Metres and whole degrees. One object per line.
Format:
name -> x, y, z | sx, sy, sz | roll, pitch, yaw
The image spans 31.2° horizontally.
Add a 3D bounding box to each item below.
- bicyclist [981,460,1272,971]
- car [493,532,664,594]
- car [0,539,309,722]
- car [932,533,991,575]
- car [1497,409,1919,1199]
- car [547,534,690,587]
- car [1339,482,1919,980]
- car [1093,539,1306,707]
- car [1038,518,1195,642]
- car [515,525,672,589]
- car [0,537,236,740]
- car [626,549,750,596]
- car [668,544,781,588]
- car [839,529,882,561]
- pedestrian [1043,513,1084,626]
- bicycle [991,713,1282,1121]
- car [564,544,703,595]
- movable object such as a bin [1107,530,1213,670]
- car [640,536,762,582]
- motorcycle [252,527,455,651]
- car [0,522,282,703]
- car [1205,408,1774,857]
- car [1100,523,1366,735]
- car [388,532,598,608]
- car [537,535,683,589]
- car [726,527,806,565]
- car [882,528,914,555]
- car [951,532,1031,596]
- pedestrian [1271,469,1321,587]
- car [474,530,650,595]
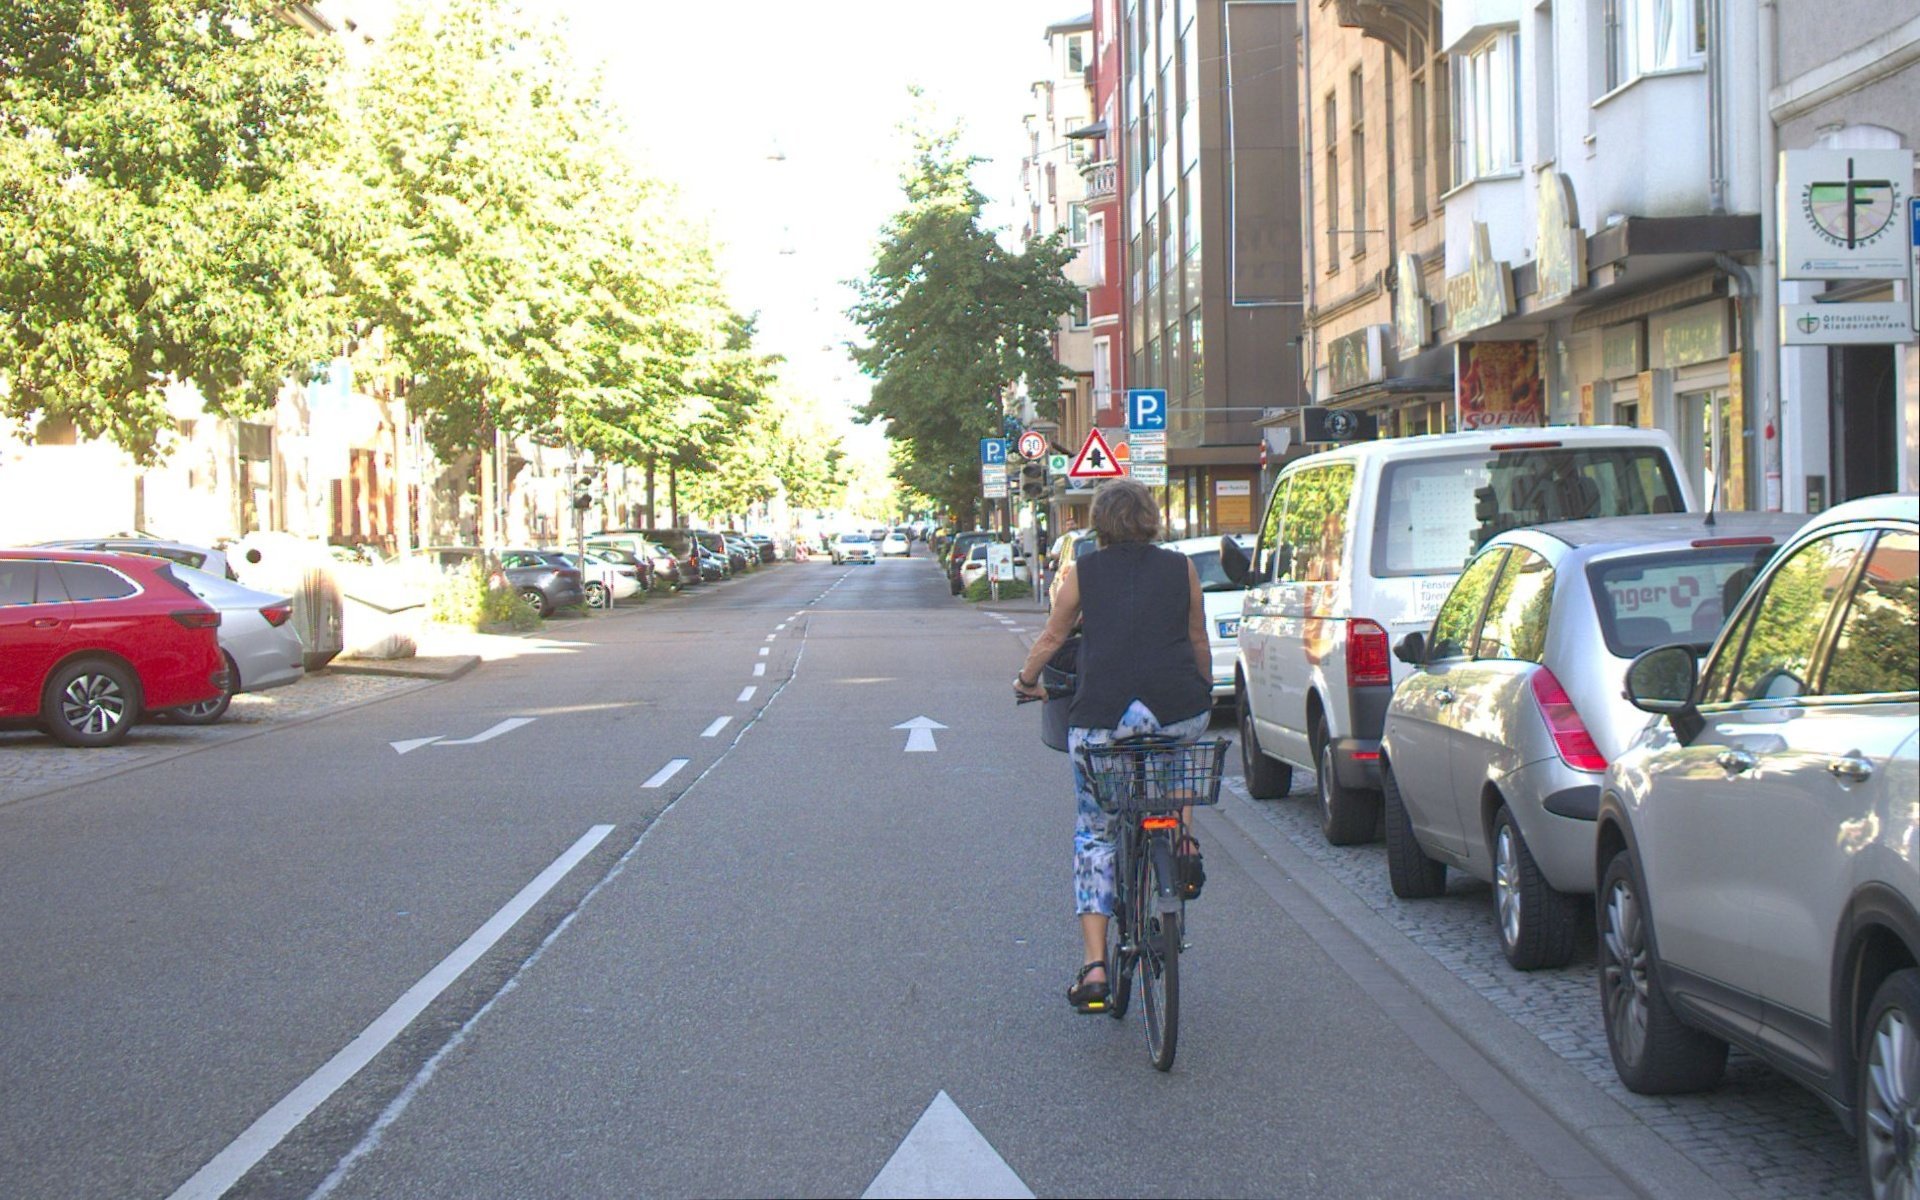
bicyclist -> 0.478, 0.328, 10.312 | 0.786, 1.448, 1.096 | 0, 0, -1
car -> -9.381, -0.909, 84.804 | 3.987, 1.503, 2.000 | 0, 0, 0
car -> -7.756, 0.246, 28.719 | 4.221, 1.472, 1.736 | 1, 0, -28
car -> 0.028, -1.650, 122.362 | 1.993, 1.448, 4.000 | 0, 1, -1
car -> 2.578, 0.522, 8.125 | 1.745, 1.733, 4.960 | 0, 0, -1
car -> -9.963, -1.146, 100.514 | 3.987, 1.503, 2.000 | 0, 0, 0
car -> 2.508, 0.420, 13.052 | 1.699, 1.598, 3.757 | -1, 0, 0
car -> 2.145, 0.199, 31.672 | 1.678, 1.443, 3.785 | 0, 0, 0
car -> 2.174, -0.273, 48.900 | 1.899, 1.669, 4.825 | 0, 0, -1
car -> -9.818, -1.156, 92.317 | 3.987, 1.668, 2.089 | 0, 0, 0
car -> -7.999, 0.274, 25.607 | 4.834, 1.483, 1.765 | 0, 0, -24
car -> -9.323, -0.950, 117.898 | 3.987, 1.503, 2.000 | 2, 0, 3
car -> -8.783, -1.272, 128.593 | 3.987, 1.503, 2.000 | 2, 0, 3
car -> -4.927, -2.714, 170.576 | 1.993, 1.550, 4.000 | 0, 0, 0
pedestrian -> 1.607, -0.470, 53.342 | 0.614, 1.729, 0.634 | 0, 0, 0
bicycle -> 0.469, 0.863, 10.228 | 0.652, 0.955, 2.698 | 0, 0, -1
car -> -9.763, -0.907, 103.147 | 3.987, 1.503, 2.000 | 0, 0, -1
movable object such as a bin -> 2.236, -0.013, 38.271 | 1.073, 1.452, 1.492 | -3, 2, 4
car -> -9.063, -1.439, 120.549 | 3.987, 1.503, 2.000 | 2, 0, 3
motorcycle -> -8.179, -0.151, 46.354 | 2.474, 1.599, 0.999 | -1, 1, 18
car -> -8.383, 0.108, 31.141 | 3.987, 1.580, 1.831 | 1, 0, -32
car -> 2.573, 0.091, 18.054 | 1.993, 1.998, 5.118 | -1, 1, -2
car -> 2.135, 0.219, 27.769 | 1.718, 1.510, 3.583 | -3, 0, -1
car -> -9.447, -0.606, 69.741 | 3.987, 1.503, 2.000 | 0, 0, 0
car -> -10.001, -1.097, 98.522 | 3.987, 1.503, 1.895 | 0, 0, 0
car -> -10.445, -2.909, 185.195 | 3.988, 2.007, 1.999 | 0, 1, 9
car -> -3.781, -3.553, 208.626 | 1.870, 1.550, 4.000 | 0, 0, 0
car -> 0.843, -0.912, 89.946 | 1.993, 1.612, 4.010 | 1, 0, 2
pedestrian -> 5.369, -1.146, 54.911 | 0.646, 1.865, 0.626 | 0, 0, 22
car -> -9.525, -0.900, 82.562 | 3.987, 1.503, 2.000 | 0, 0, 0
